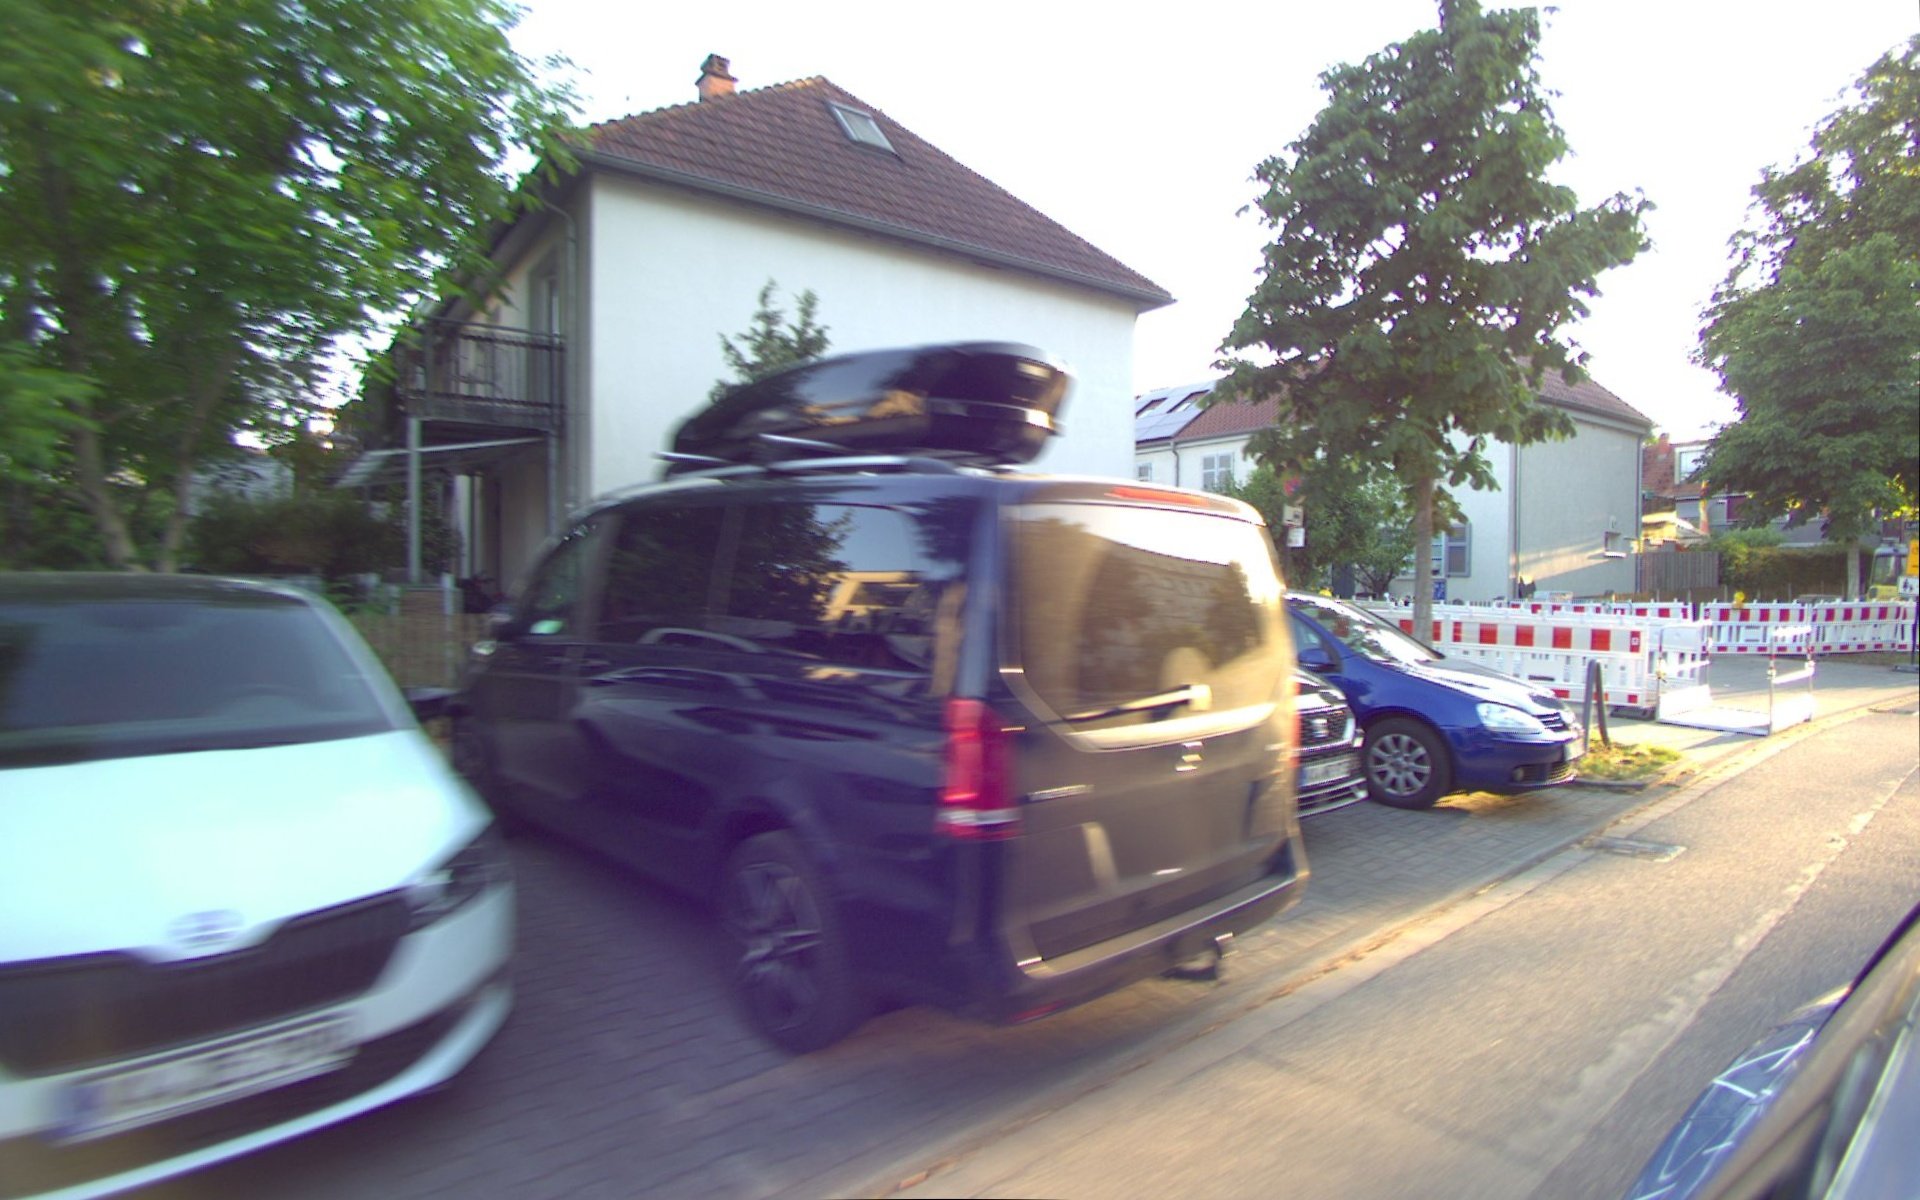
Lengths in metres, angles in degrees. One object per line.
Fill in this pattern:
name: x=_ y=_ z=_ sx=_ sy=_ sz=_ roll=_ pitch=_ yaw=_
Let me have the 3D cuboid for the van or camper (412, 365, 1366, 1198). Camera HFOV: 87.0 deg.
van or camper: x=-0.793 y=0.385 z=4.811 sx=2.060 sy=1.978 sz=4.651 roll=-1 pitch=1 yaw=-44

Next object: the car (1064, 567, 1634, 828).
car: x=2.901 y=0.550 z=8.240 sx=1.762 sy=1.580 sz=3.994 roll=-1 pitch=1 yaw=-41

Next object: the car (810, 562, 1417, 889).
car: x=0.779 y=0.565 z=6.991 sx=1.762 sy=1.580 sz=3.994 roll=-1 pitch=1 yaw=-41

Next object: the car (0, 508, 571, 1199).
car: x=-2.868 y=0.575 z=3.507 sx=1.601 sy=1.563 sz=3.838 roll=-1 pitch=1 yaw=-42
